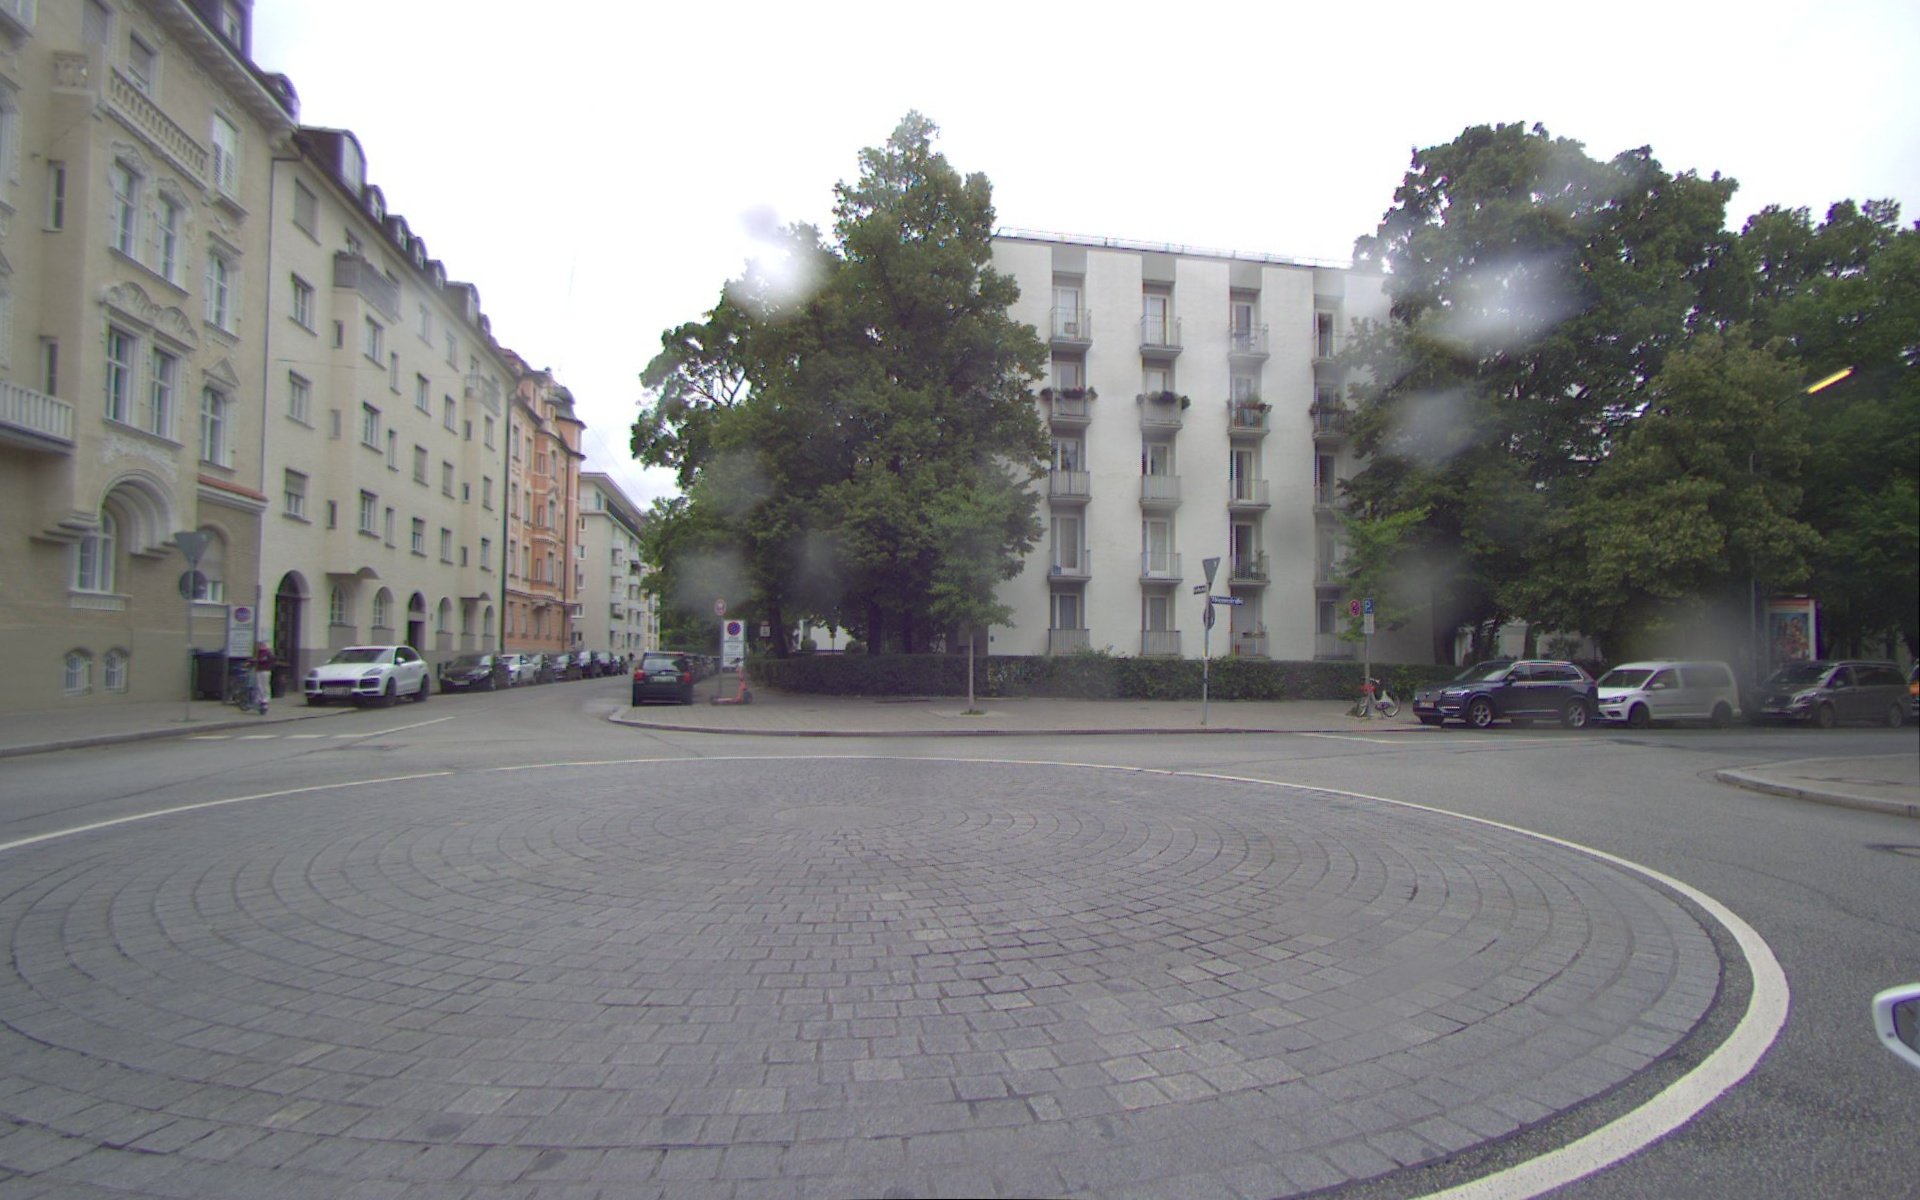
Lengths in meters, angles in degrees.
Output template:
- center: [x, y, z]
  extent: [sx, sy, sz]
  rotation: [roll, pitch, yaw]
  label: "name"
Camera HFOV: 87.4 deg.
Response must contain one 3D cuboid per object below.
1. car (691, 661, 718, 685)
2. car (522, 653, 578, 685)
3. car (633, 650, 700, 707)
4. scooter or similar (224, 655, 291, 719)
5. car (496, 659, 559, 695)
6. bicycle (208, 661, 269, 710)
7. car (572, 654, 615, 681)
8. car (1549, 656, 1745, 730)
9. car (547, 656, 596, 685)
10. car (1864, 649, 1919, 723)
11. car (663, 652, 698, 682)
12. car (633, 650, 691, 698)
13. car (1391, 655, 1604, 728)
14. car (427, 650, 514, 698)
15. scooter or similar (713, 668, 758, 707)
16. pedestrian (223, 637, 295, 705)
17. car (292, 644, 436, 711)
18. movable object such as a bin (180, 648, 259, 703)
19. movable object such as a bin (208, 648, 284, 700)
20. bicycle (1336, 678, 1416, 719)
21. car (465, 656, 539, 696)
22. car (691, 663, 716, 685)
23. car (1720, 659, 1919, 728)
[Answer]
- center: [-17.802, 5.060, 69.988]
  extent: [1.747, 1.538, 4.024]
  rotation: [2, -3, -15]
  label: "car"
- center: [-21.698, 3.628, 53.348]
  extent: [1.965, 1.616, 4.204]
  rotation: [2, -3, -12]
  label: "car"
- center: [-8.586, 2.273, 29.580]
  extent: [1.747, 1.538, 4.024]
  rotation: [2, -3, -15]
  label: "car"
- center: [-16.178, 1.988, 23.131]
  extent: [1.332, 1.413, 0.708]
  rotation: [-1, -3, 29]
  label: "scooter or similar"
- center: [-20.837, 3.675, 48.539]
  extent: [1.965, 1.616, 4.204]
  rotation: [2, -3, -12]
  label: "car"
- center: [-18.250, 2.146, 25.446]
  extent: [0.541, 1.165, 1.841]
  rotation: [1, -3, -13]
  label: "bicycle"
- center: [-23.545, 4.307, 64.707]
  extent: [1.965, 1.616, 4.204]
  rotation: [2, -3, -12]
  label: "car"
- center: [19.048, 2.566, 27.902]
  extent: [4.789, 1.919, 1.926]
  rotation: [2, -3, -17]
  label: "car"
- center: [-22.723, 4.106, 58.953]
  extent: [1.965, 1.616, 4.204]
  rotation: [2, -3, -12]
  label: "car"
- center: [32.007, 2.779, 32.166]
  extent: [5.109, 2.280, 2.111]
  rotation: [2, -3, -16]
  label: "car"
- center: [-15.445, 3.681, 55.547]
  extent: [1.747, 1.538, 4.024]
  rotation: [2, -3, -15]
  label: "car"
- center: [-10.233, 2.505, 34.693]
  extent: [1.747, 1.538, 4.024]
  rotation: [2, -3, -15]
  label: "car"
- center: [14.027, 2.384, 26.285]
  extent: [4.826, 1.790, 2.066]
  rotation: [2, -3, -16]
  label: "car"
- center: [-18.689, 2.813, 38.530]
  extent: [1.965, 1.713, 4.204]
  rotation: [2, -3, -12]
  label: "car"
- center: [-6.141, 2.398, 27.489]
  extent: [1.126, 1.038, 0.377]
  rotation: [2, -3, -25]
  label: "scooter or similar"
- center: [-19.161, 1.935, 27.491]
  extent: [1.112, 1.828, 1.269]
  rotation: [1, -3, -11]
  label: "pedestrian"
- center: [-16.576, 2.125, 28.245]
  extent: [1.965, 1.713, 4.801]
  rotation: [2, -3, -12]
  label: "car"
- center: [-20.324, 2.070, 27.618]
  extent: [1.321, 1.476, 1.161]
  rotation: [1, -3, -11]
  label: "movable object such as a bin"
- center: [-20.614, 2.127, 29.040]
  extent: [1.321, 1.476, 1.294]
  rotation: [1, -3, -11]
  label: "movable object such as a bin"
- center: [11.639, 2.752, 28.122]
  extent: [1.938, 1.065, 0.911]
  rotation: [2, -3, -15]
  label: "bicycle"
- center: [-19.675, 3.236, 43.347]
  extent: [1.965, 1.616, 4.204]
  rotation: [2, -3, -12]
  label: "car"
- center: [-19.054, 5.474, 74.510]
  extent: [1.747, 1.538, 4.024]
  rotation: [2, -3, -15]
  label: "car"
- center: [25.335, 2.748, 29.657]
  extent: [4.904, 1.883, 2.066]
  rotation: [2, -3, -16]
  label: "car"
